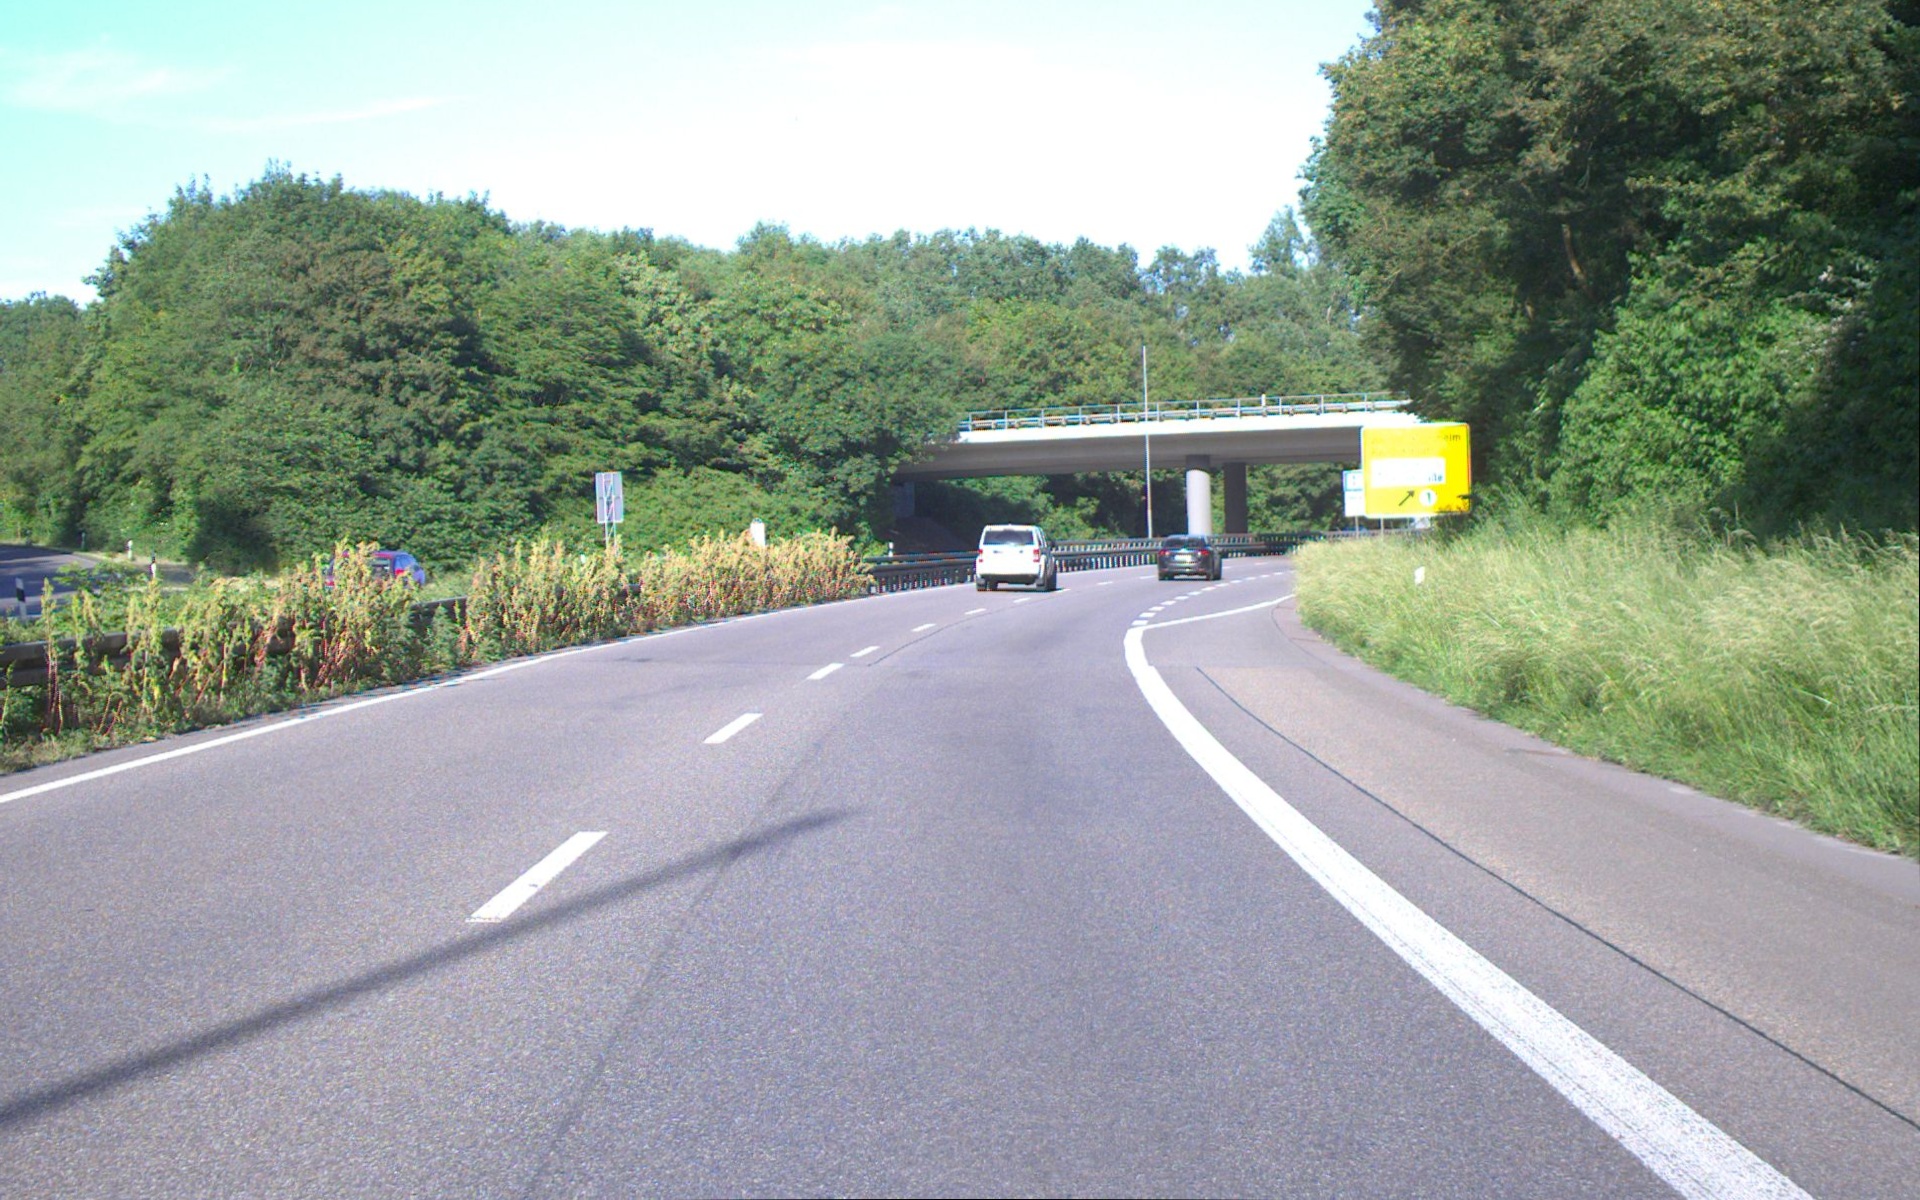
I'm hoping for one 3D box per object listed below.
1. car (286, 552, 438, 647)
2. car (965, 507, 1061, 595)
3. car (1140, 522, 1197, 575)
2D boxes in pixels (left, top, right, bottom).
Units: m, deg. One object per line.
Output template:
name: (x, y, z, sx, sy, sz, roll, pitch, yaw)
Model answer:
car: (-12.950, -0.043, 74.751, 2.047, 2.007, 4.761, 0, 1, 6)
car: (1.452, -1.336, 91.995, 1.994, 2.269, 3.999, -1, 1, 9)
car: (6.771, -1.689, 111.269, 1.739, 1.656, 3.945, -1, 1, 5)
